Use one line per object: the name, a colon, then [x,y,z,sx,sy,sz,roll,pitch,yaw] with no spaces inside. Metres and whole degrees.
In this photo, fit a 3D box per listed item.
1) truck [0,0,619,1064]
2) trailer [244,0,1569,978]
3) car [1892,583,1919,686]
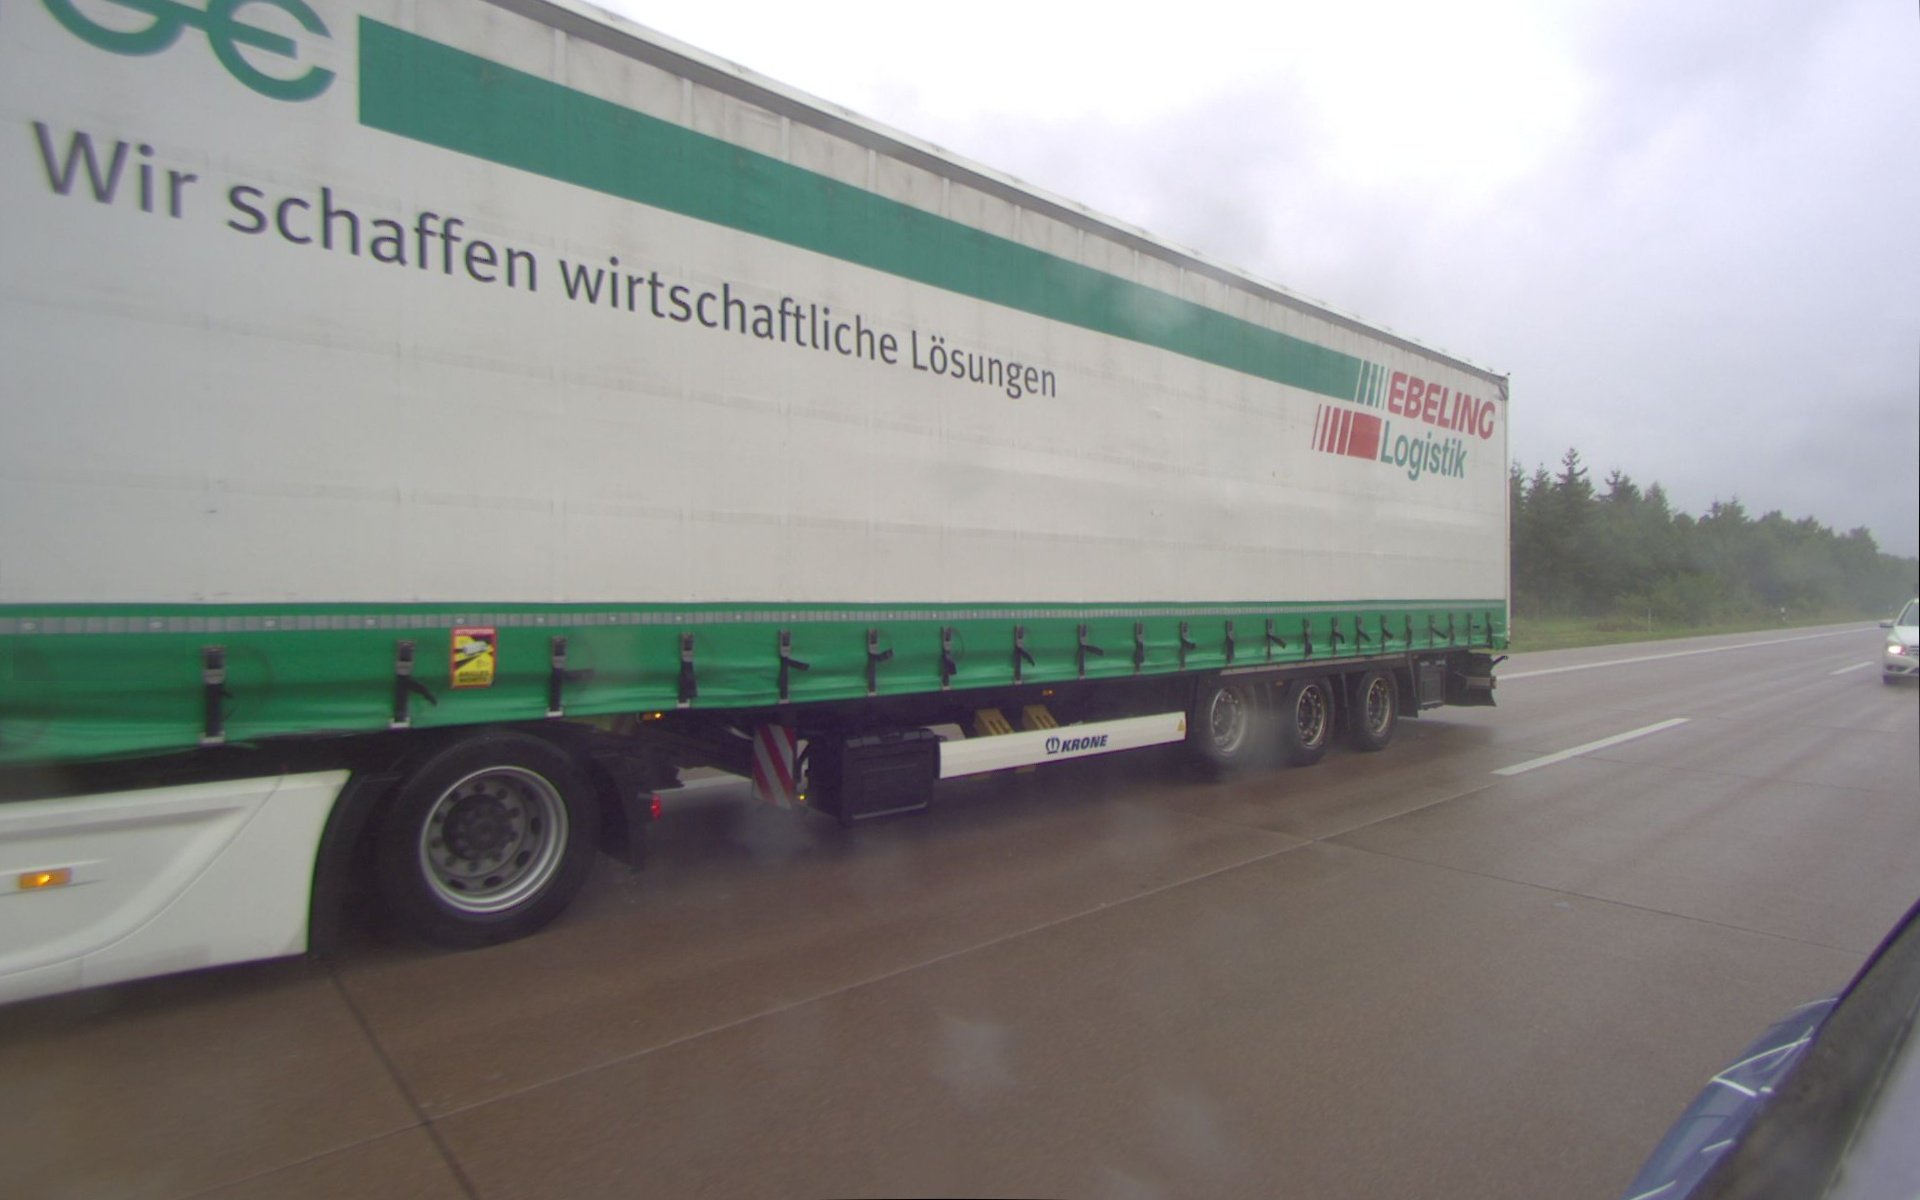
truck: [-4.780,-0.717,3.343,6.239,4.157,2.886,1,2,-42]
trailer: [1.626,-0.763,9.110,12.905,4.284,2.857,1,2,-42]
car: [18.541,0.589,18.440,4.661,1.750,1.811,0,0,-41]
